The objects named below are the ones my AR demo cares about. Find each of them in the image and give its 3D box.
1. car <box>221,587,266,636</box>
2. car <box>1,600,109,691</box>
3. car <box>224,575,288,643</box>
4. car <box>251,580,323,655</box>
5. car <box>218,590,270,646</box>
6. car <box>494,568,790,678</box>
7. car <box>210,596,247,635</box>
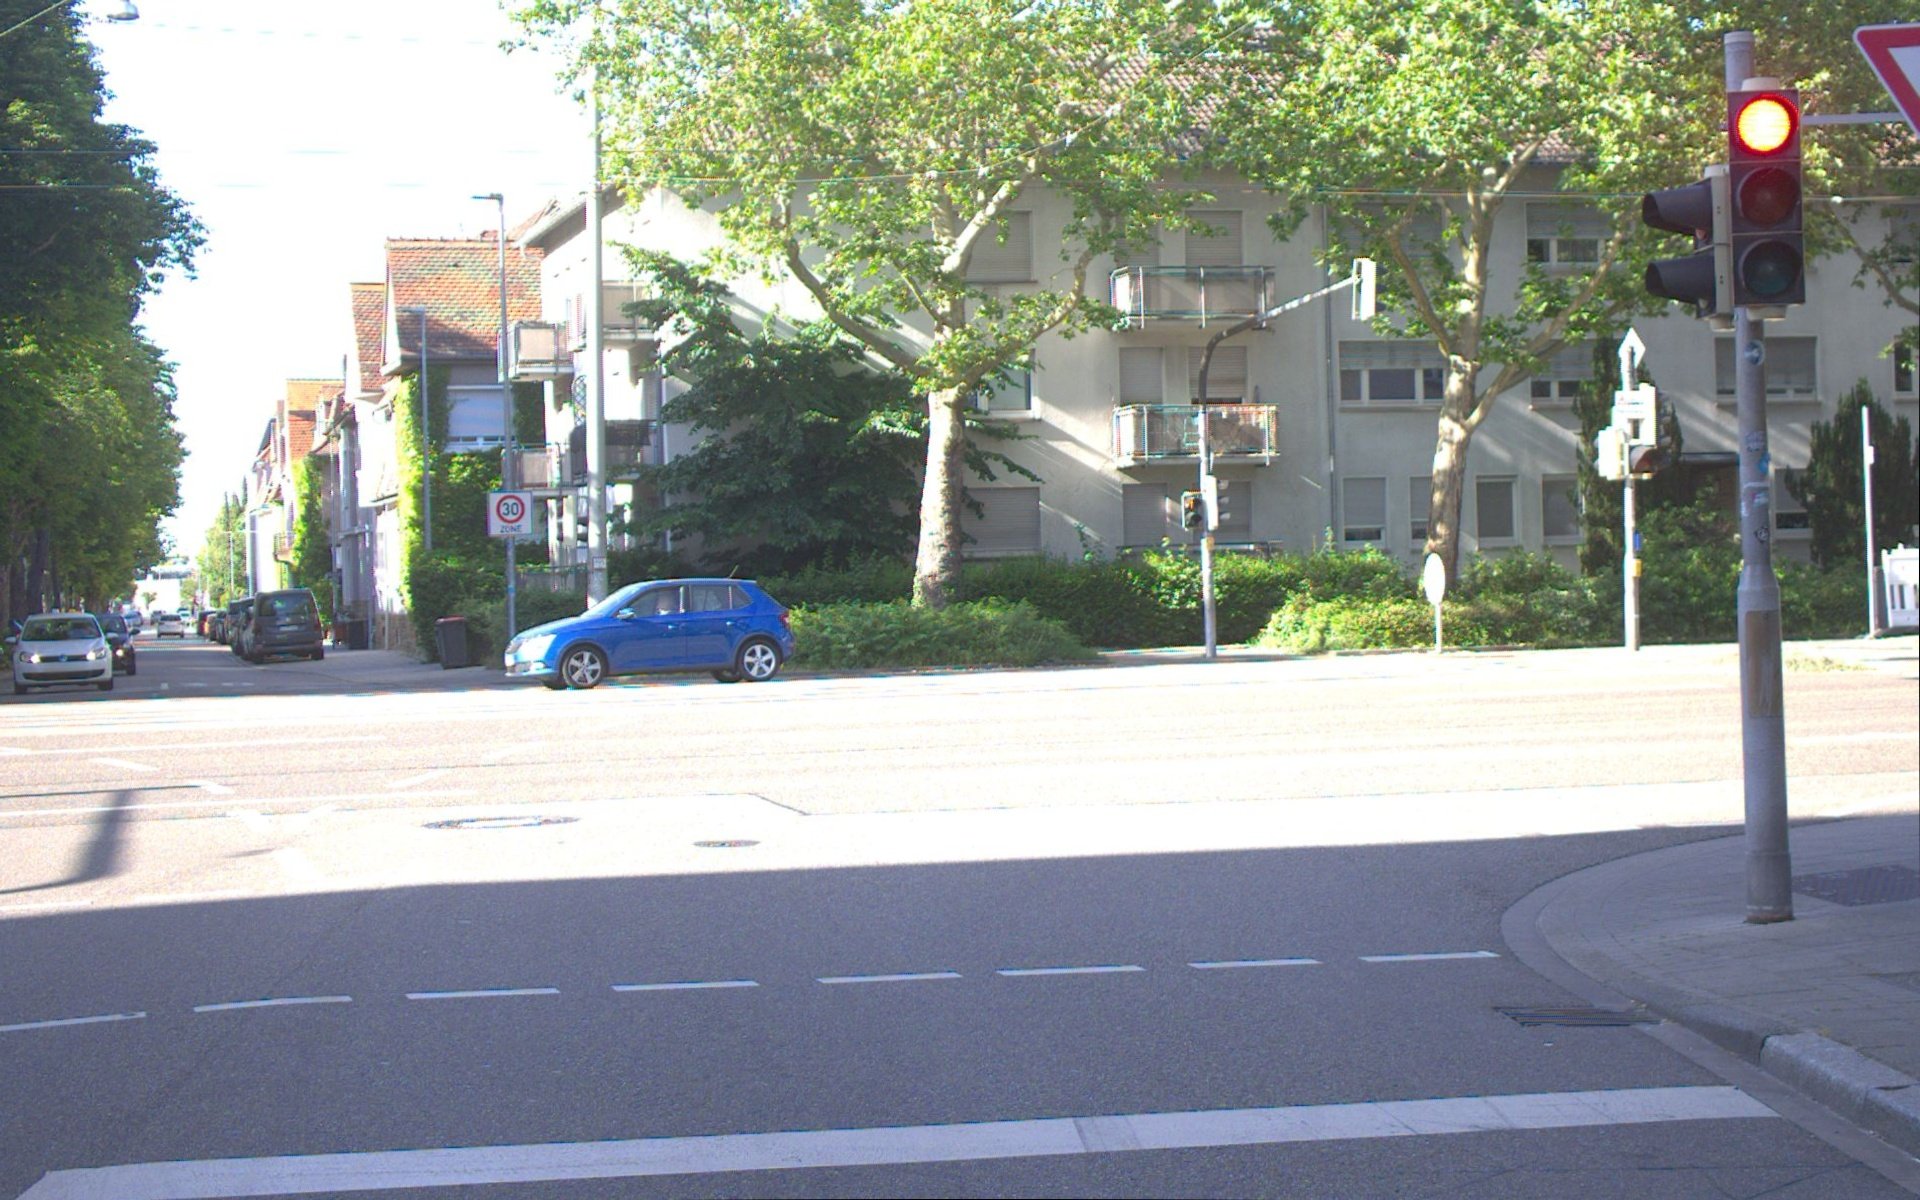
[{"bbox_3d":[-30.525,0.473,146.435,1.772,1.912,3.535,-3,1,-12],"label":"car"},{"bbox_3d":[-16.644,0.812,63.354,1.698,1.478,3.535,-3,1,-12],"label":"car"},{"bbox_3d":[-21.449,0.259,104.639,1.772,1.912,3.535,-3,1,-12],"label":"car"},{"bbox_3d":[-18.509,0.461,94.445,1.772,1.912,3.535,-3,1,-12],"label":"car"},{"bbox_3d":[-26.696,0.655,128.150,1.772,1.912,3.535,-3,1,-12],"label":"car"},{"bbox_3d":[-4.386,0.300,47.329,3.780,1.395,1.646,-1,1,-17],"label":"car"},{"bbox_3d":[-38.461,0.796,180.817,1.772,1.912,3.535,-3,1,-12],"label":"car"}]
